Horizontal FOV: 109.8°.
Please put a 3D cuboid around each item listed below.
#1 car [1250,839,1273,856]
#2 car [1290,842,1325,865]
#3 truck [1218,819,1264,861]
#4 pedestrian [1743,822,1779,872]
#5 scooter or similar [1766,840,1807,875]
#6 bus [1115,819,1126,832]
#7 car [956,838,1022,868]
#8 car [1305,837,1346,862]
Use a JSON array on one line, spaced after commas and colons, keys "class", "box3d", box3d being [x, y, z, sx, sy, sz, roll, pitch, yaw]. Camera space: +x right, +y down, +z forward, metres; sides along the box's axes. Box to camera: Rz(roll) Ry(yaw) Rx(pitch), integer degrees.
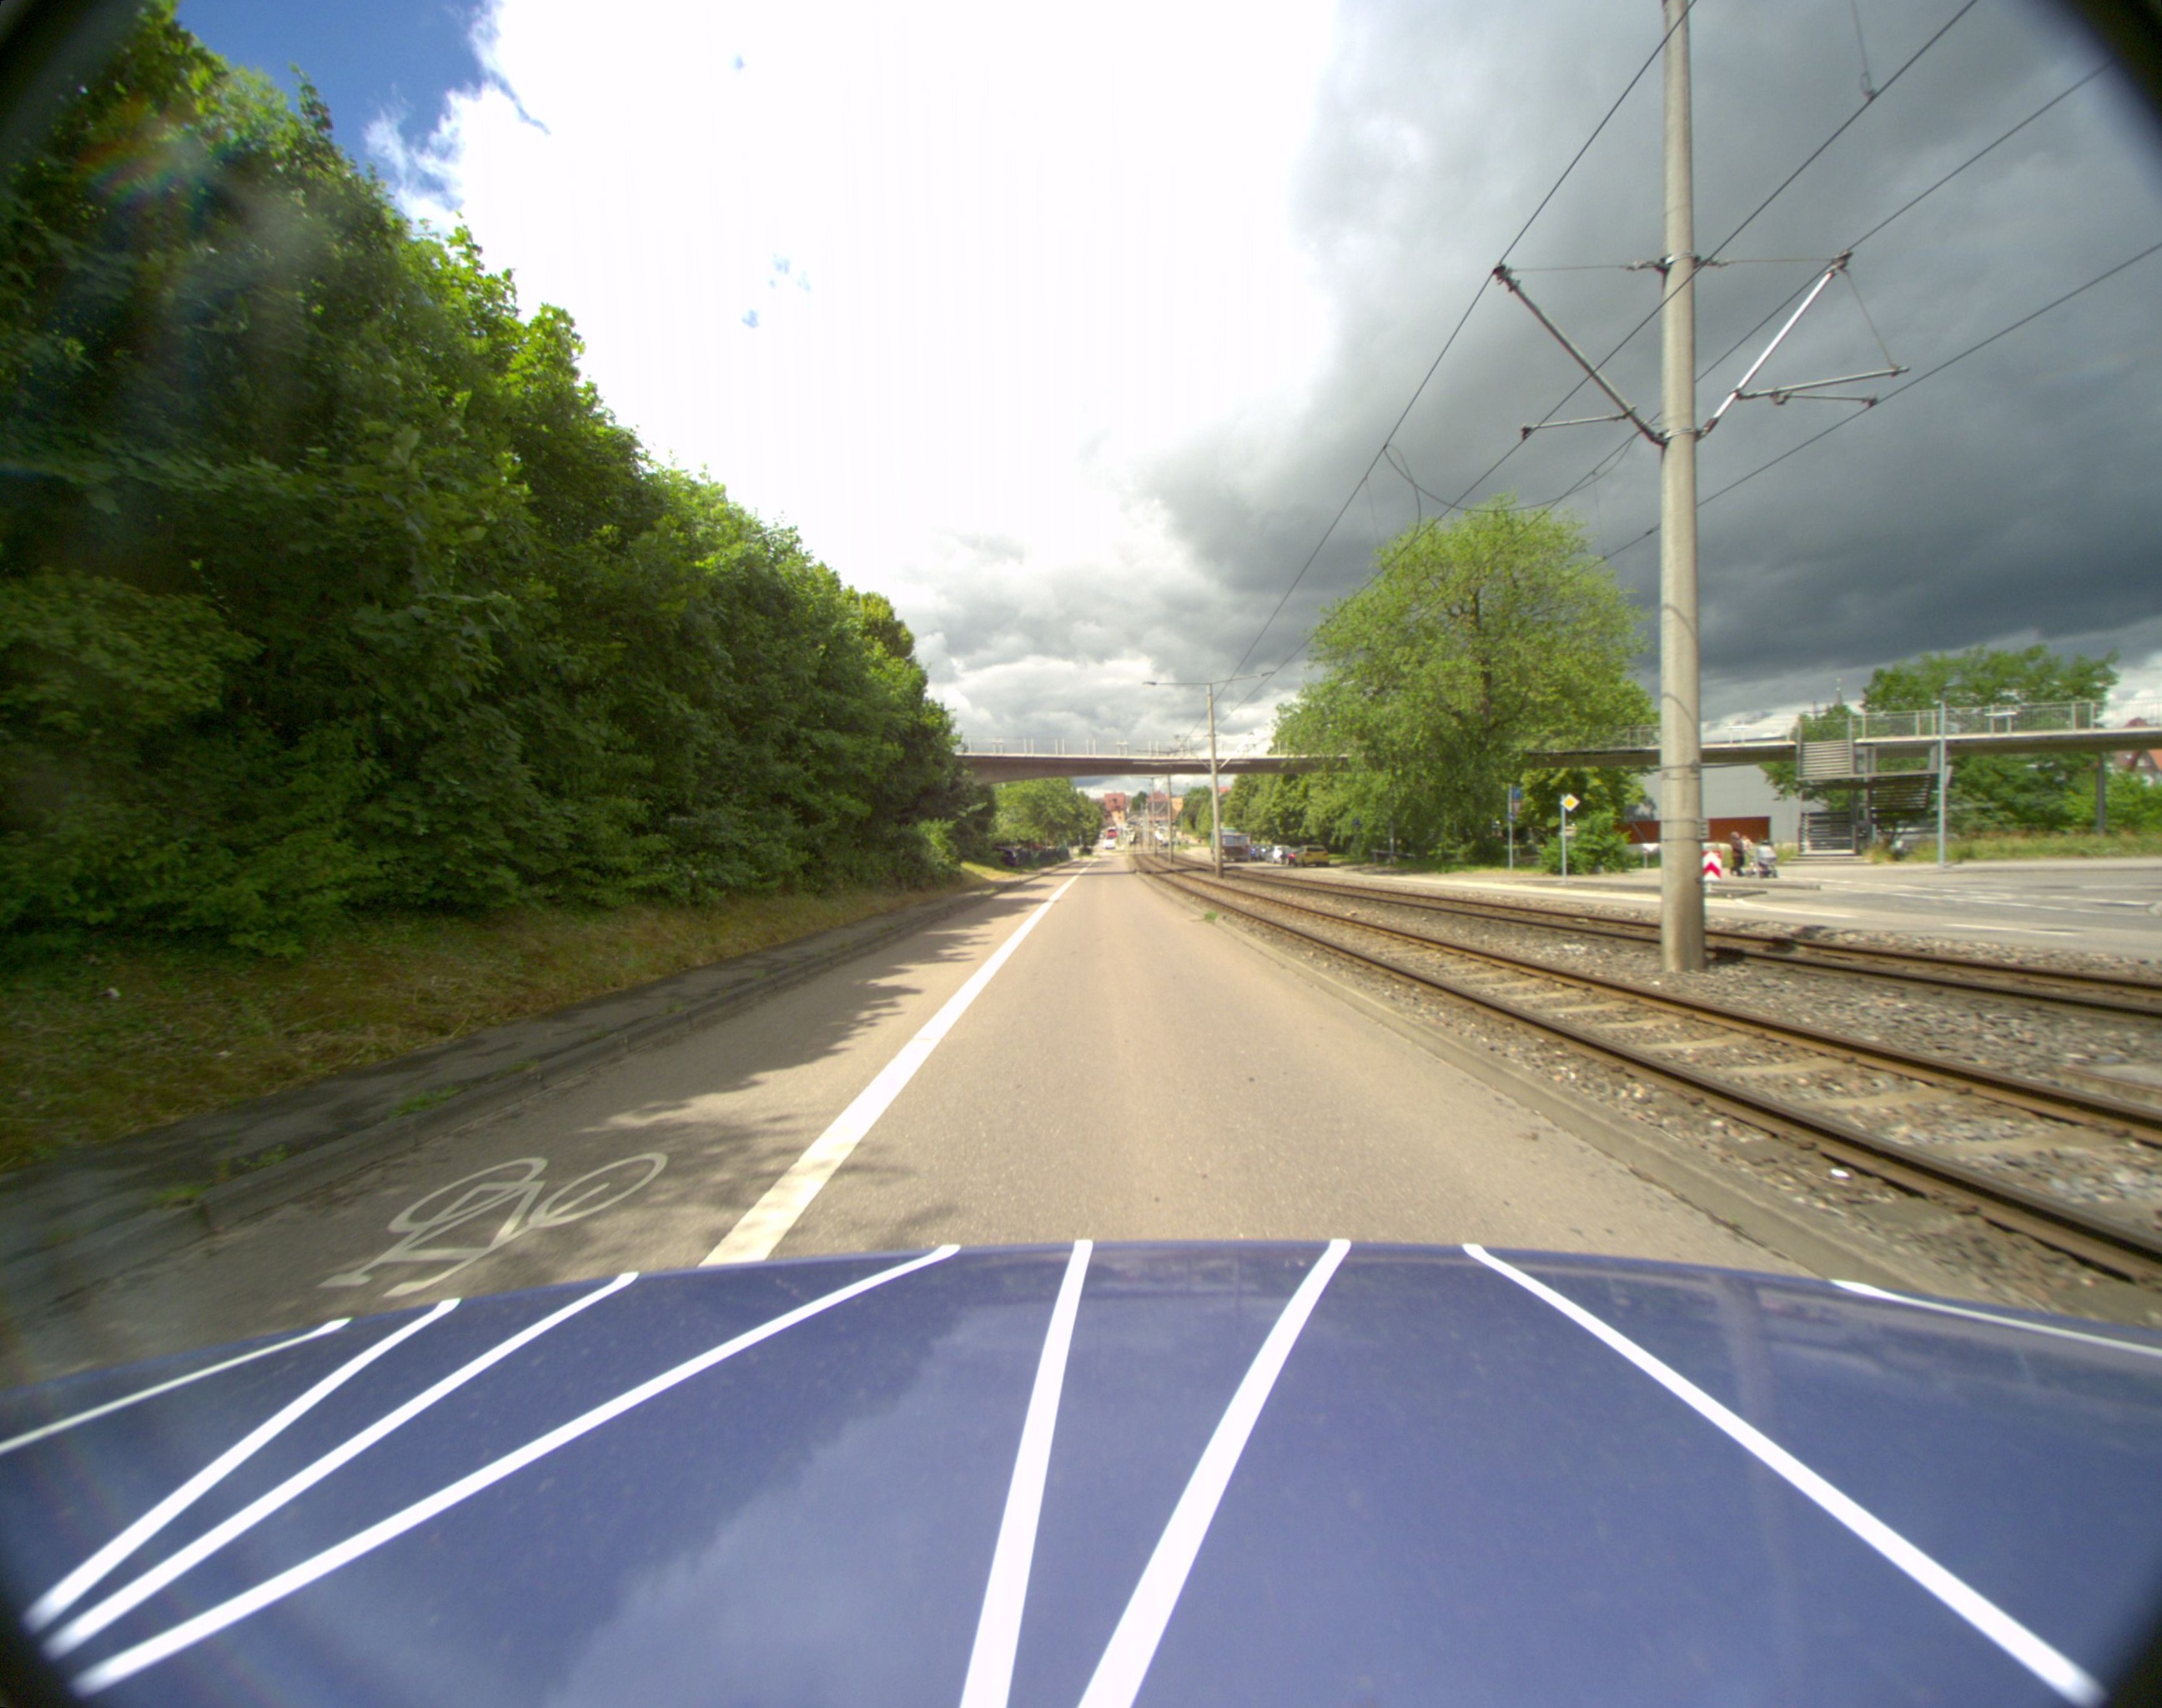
[{"class": "car", "box3d": [17.183, -0.670, 72.527, 1.560, 1.587, 4.160, -1, 1, 5]}, {"class": "car", "box3d": [16.633, -0.076, 55.953, 1.693, 1.442, 3.897, -4, 3, 5]}, {"class": "truck", "box3d": [14.316, -1.374, 68.698, 2.877, 3.301, 9.030, -4, 2, 5]}, {"class": "pedestrian", "box3d": [24.718, -0.252, 27.626, 0.662, 1.746, 0.717, -4, 3, 5]}, {"class": "scooter or similar", "box3d": [24.612, 0.098, 26.524, 0.712, 1.141, 0.787, -4, 3, 6]}, {"class": "bus", "box3d": [12.891, -9.174, 246.614, 2.922, 3.865, 10.379, -2, 2, 5]}, {"class": "car", "box3d": [-6.930, -0.113, 57.794, 4.534, 1.662, 2.000, 7, 4, 4]}, {"class": "car", "box3d": [16.347, -0.343, 50.980, 1.693, 1.442, 3.897, -4, 3, 5]}]
